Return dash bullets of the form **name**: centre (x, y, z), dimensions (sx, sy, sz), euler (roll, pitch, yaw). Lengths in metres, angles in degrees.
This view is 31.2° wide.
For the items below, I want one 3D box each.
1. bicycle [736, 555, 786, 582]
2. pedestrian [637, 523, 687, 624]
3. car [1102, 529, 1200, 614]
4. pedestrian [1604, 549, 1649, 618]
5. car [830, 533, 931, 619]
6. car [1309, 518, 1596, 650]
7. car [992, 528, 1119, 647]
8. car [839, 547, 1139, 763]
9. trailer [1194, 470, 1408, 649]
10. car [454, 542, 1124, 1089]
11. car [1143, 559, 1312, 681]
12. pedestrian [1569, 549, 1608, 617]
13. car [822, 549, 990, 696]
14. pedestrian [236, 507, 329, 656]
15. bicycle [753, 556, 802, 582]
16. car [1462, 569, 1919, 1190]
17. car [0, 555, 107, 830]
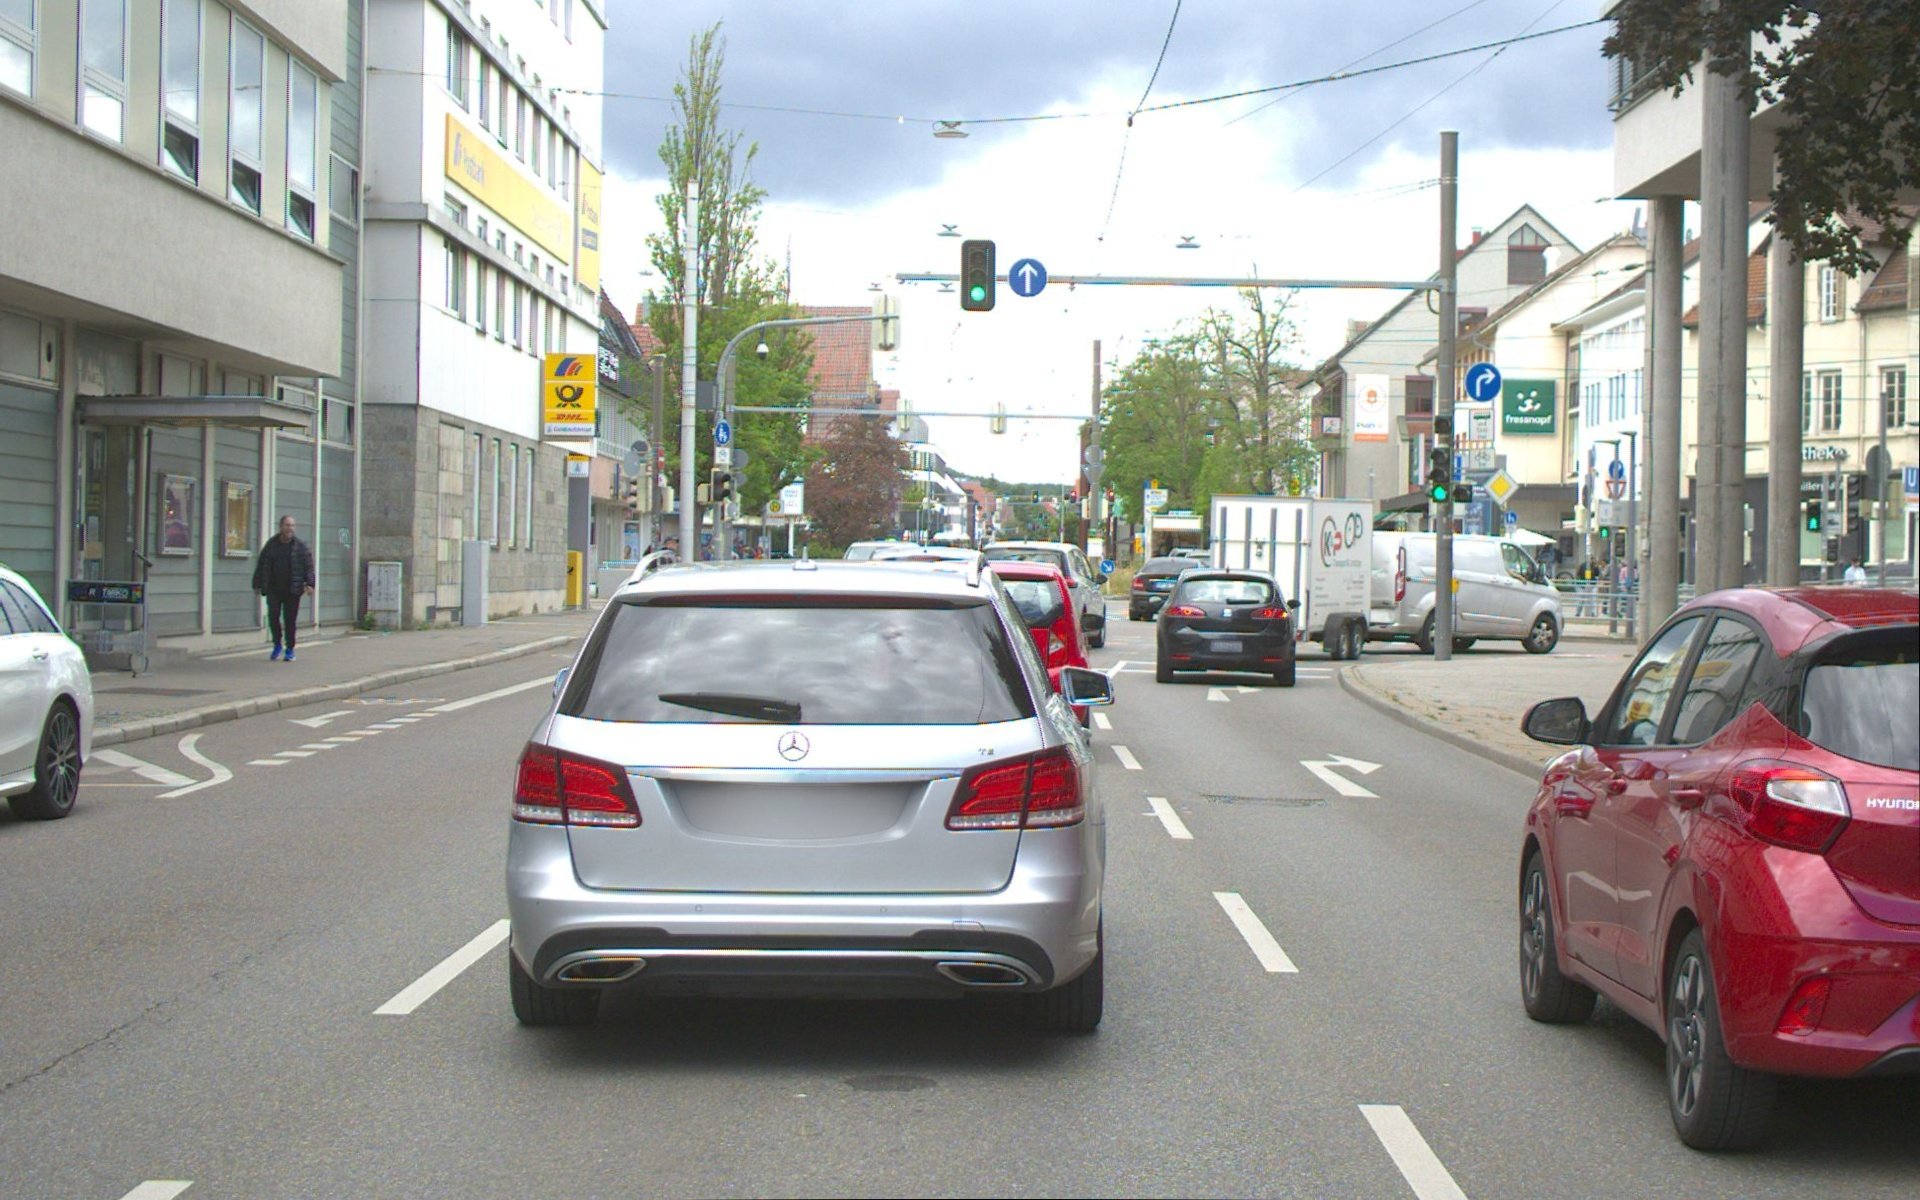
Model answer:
- **bicycle**: centre (-8.077, -1.276, 139.680), dimensions (1.937, 1.025, 0.530), euler (2, 1, -8)
- **pedestrian**: centre (-5.164, -0.466, 59.636), dimensions (0.648, 1.712, 0.782), euler (2, 1, 8)
- **car**: centre (4.155, -0.636, 75.221), dimensions (1.828, 1.779, 4.000), euler (1, 1, -1)
- **pedestrian**: centre (16.777, -0.416, 86.543), dimensions (0.786, 1.712, 0.650), euler (2, 2, -29)
- **car**: centre (-1.538, -0.498, 67.881), dimensions (1.776, 1.626, 4.768), euler (0, 1, 1)
- **car**: centre (8.278, -0.253, 57.568), dimensions (4.891, 1.939, 1.883), euler (3, 1, -40)
- **car**: centre (1.438, -0.219, 52.996), dimensions (1.734, 1.753, 4.000), euler (1, 1, -1)
- **car**: centre (0.306, 0.357, 26.385), dimensions (1.735, 1.503, 3.999), euler (1, 1, 9)
- **trailer**: centre (5.389, -0.595, 53.840), dimensions (1.880, 2.604, 4.317), euler (4, 1, 25)
- **car**: centre (-0.520, 0.566, 11.648), dimensions (1.845, 1.503, 4.171), euler (1, 1, -1)
- **car**: centre (3.343, 0.220, 43.582), dimensions (1.734, 1.406, 4.000), euler (1, 1, -1)
- **pedestrian**: centre (15.903, -0.422, 87.028), dimensions (0.702, 1.712, 0.650), euler (0, 1, -35)
- **car**: centre (-0.604, 0.203, 37.736), dimensions (1.734, 1.503, 4.000), euler (1, 1, -1)
- **pedestrian**: centre (-8.038, -0.225, 40.844), dimensions (0.861, 1.712, 1.032), euler (2, 1, -1)
- **bicycle**: centre (-7.590, -1.301, 142.995), dimensions (1.937, 1.025, 0.530), euler (2, 1, -8)
- **car**: centre (2.695, 0.692, 10.299), dimensions (1.698, 1.447, 4.000), euler (3, 1, 0)
- **car**: centre (-5.874, 0.501, 17.633), dimensions (1.670, 1.429, 4.552), euler (-1, 1, 3)
